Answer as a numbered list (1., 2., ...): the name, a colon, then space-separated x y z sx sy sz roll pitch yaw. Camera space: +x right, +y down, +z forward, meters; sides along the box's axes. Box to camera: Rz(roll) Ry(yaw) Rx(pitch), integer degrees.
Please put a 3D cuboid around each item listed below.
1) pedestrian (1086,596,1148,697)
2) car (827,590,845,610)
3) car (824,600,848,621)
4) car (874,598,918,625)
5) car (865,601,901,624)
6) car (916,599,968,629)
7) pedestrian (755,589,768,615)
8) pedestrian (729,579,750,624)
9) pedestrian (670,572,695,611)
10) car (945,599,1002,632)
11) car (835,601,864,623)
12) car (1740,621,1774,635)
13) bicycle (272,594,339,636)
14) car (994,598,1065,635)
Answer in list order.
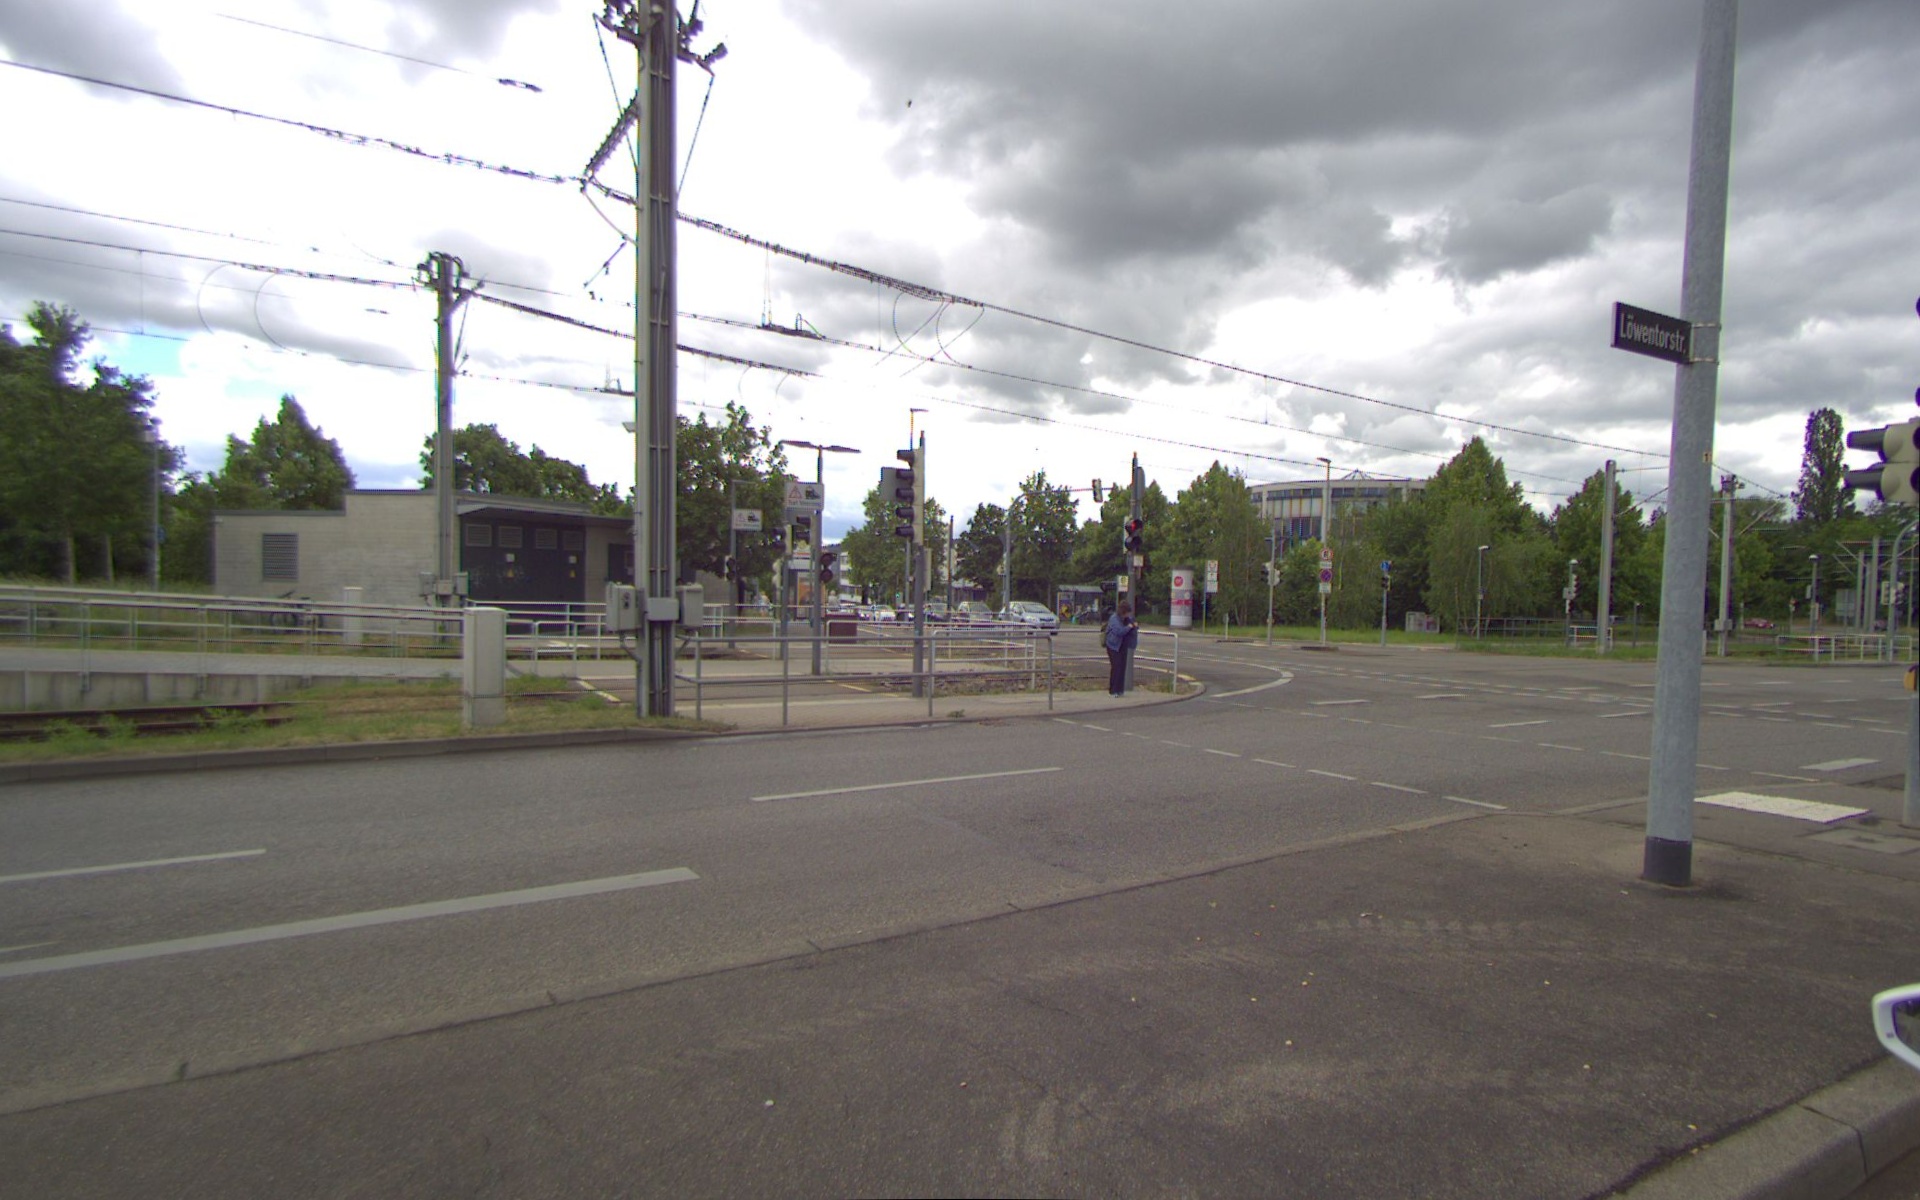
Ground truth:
1. pedestrian: 2.499 0.730 16.006 0.712 1.557 0.630 2 0 -33
2. car: -14.614 0.020 118.107 1.964 2.218 5.800 1 0 -9
3. car: -11.659 0.970 94.227 1.869 1.805 3.990 1 0 -13
4. car: -4.155 0.697 64.575 1.776 1.617 3.982 2 0 -20
5. car: -5.769 0.925 74.898 1.775 1.617 3.985 2 0 -17
6. car: -1.069 0.761 58.038 1.776 1.617 3.982 2 0 -20
7. pedestrian: -12.122 0.142 61.433 0.633 1.557 0.521 2 0 -2
8. pedestrian: -8.620 0.060 39.240 0.700 1.751 0.674 2 0 -19
9. pedestrian: -9.989 -0.287 36.136 0.590 1.377 0.616 2 0 18
10. car: 0.662 0.793 53.864 1.776 1.617 3.982 2 0 -20
11. car: -9.541 0.997 86.576 1.869 1.805 3.988 1 0 -14
12. car: 104.326 3.659 131.484 1.839 1.815 4.002 2 0 13
13. bicycle: -17.381 0.393 26.682 1.778 1.045 0.536 2 0 21
14. car: 3.192 0.733 46.898 1.848 1.617 3.982 2 0 -20
